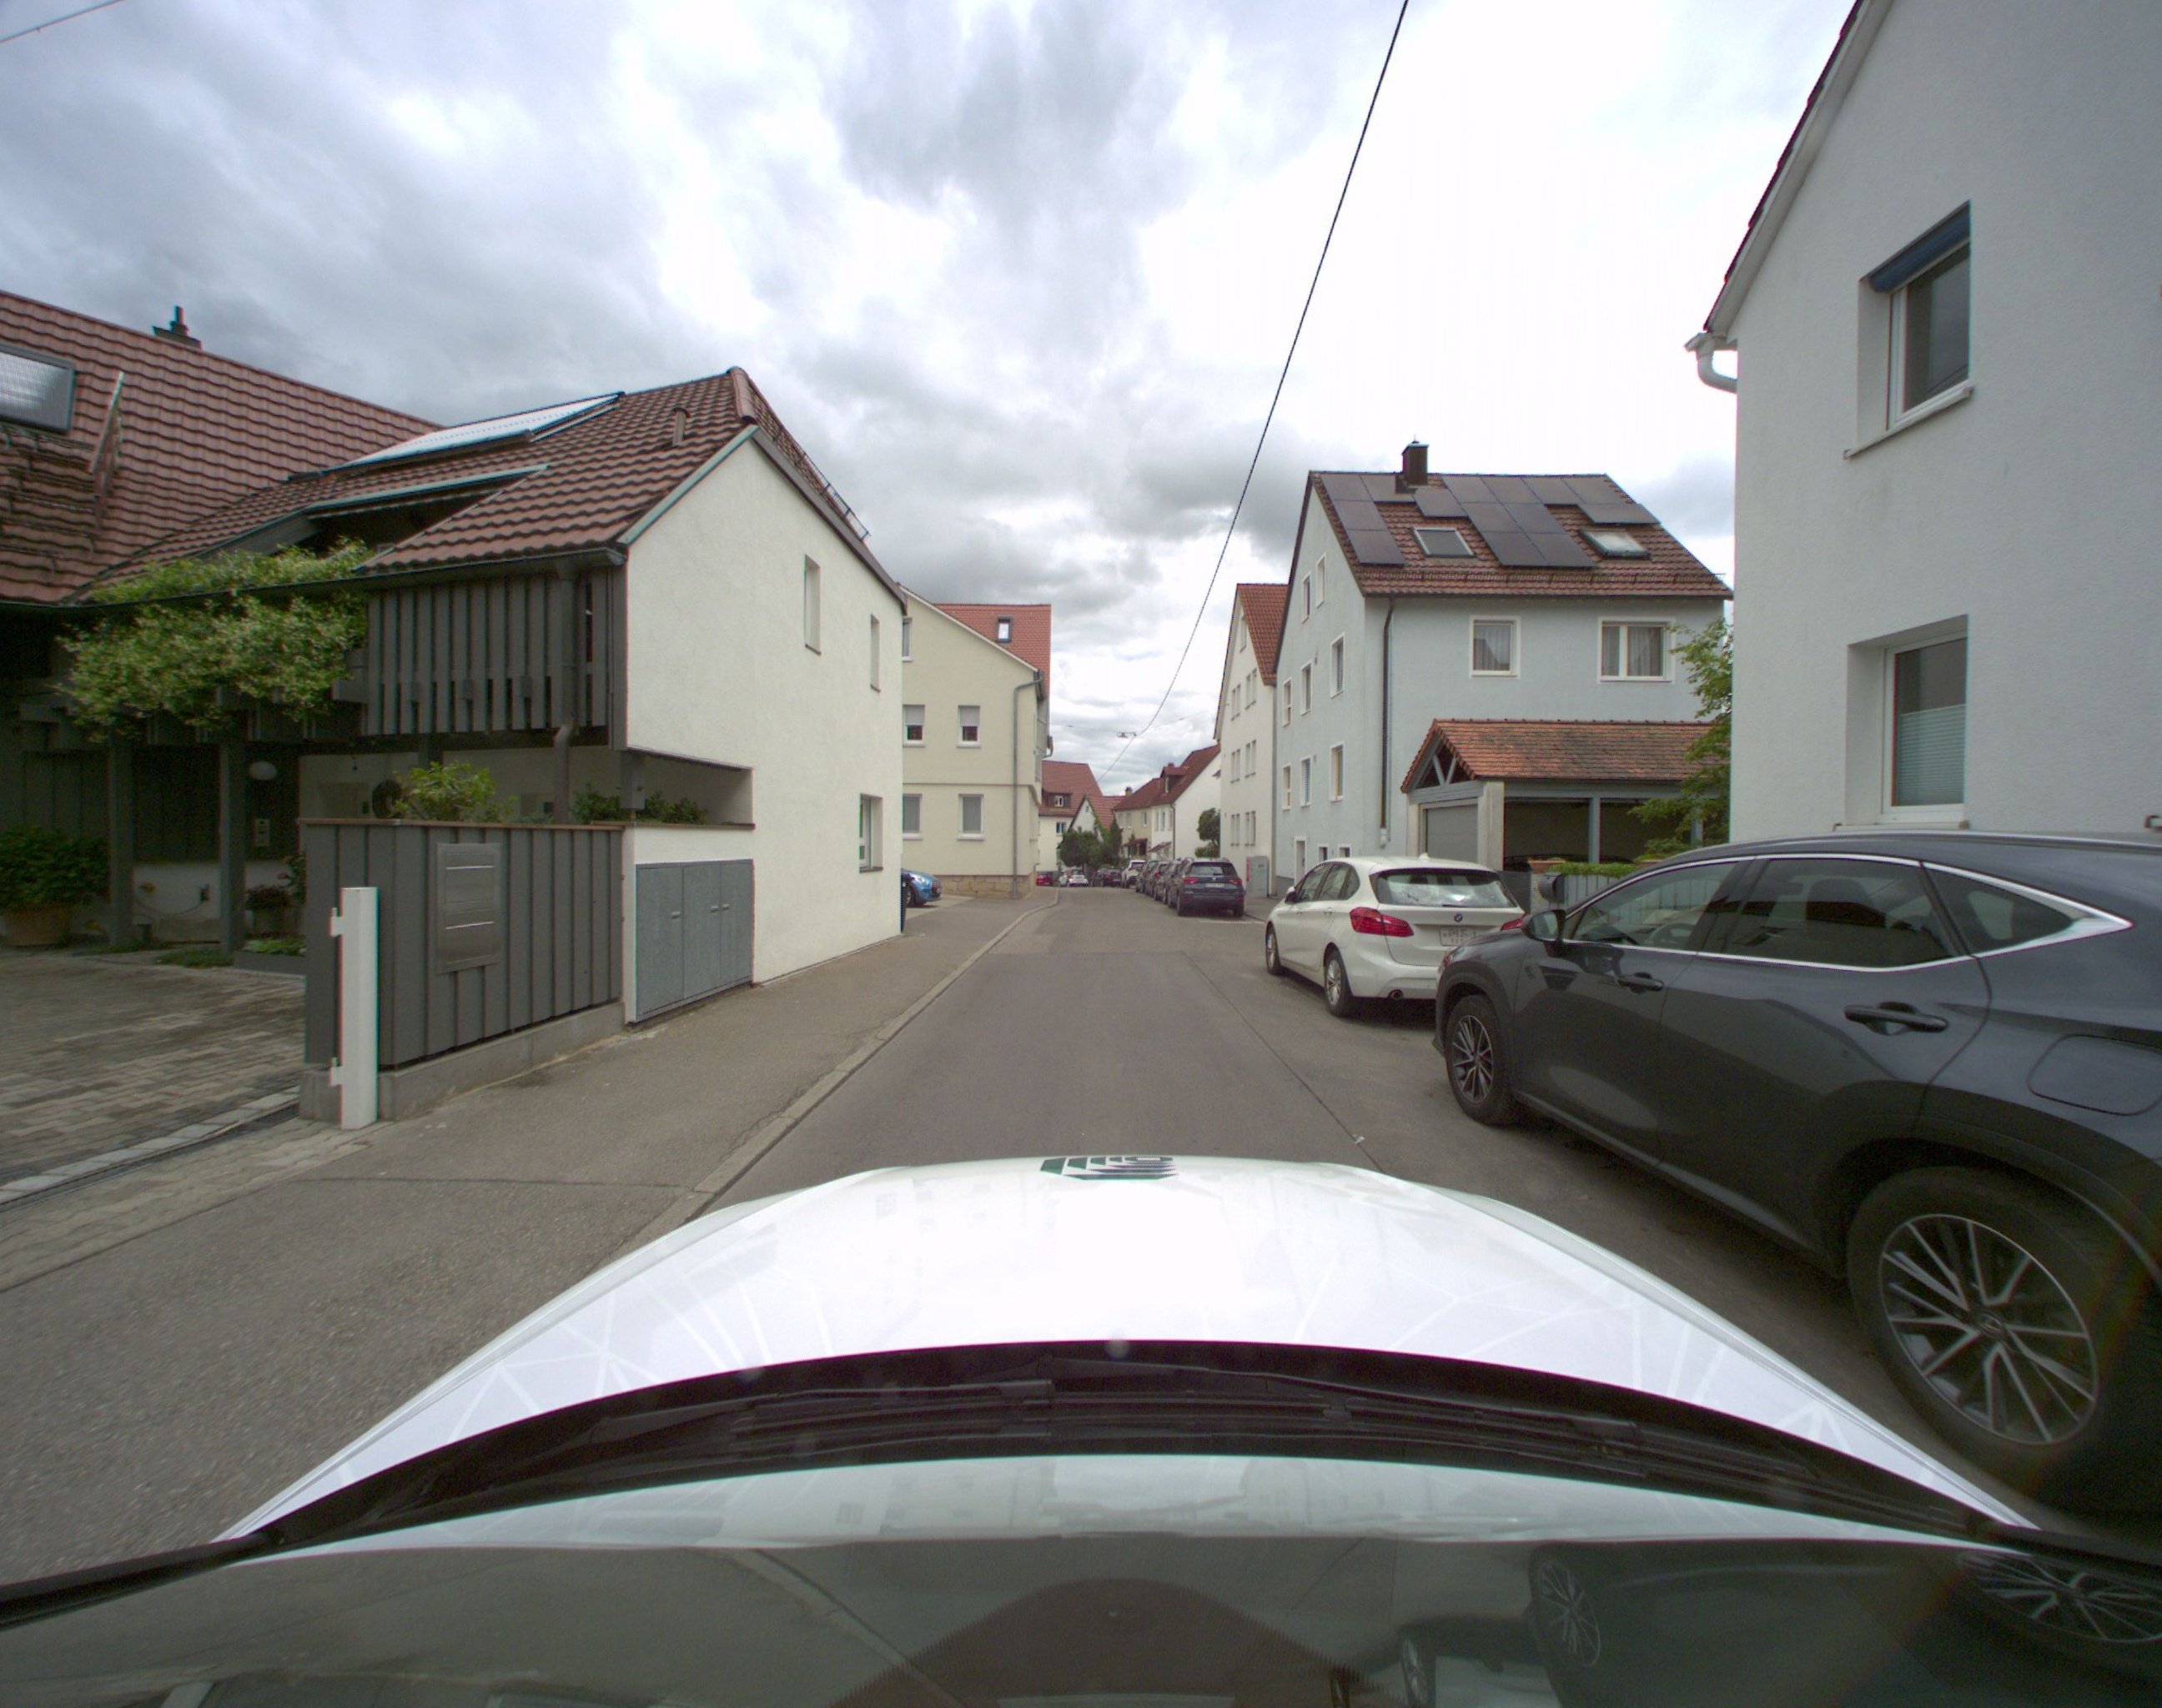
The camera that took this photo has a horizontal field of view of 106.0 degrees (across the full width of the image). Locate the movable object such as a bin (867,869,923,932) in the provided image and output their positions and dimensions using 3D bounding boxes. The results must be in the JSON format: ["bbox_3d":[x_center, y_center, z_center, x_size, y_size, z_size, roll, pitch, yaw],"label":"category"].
[{"bbox_3d":[-3.399,0.840,14.927,0.609,1.076,0.756,3,-1,22],"label":"movable object such as a bin"}]

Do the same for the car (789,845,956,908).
[{"bbox_3d":[-5.455,0.604,21.699,3.713,1.412,2.123,3,-2,5],"label":"car"}]

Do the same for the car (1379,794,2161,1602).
[{"bbox_3d":[3.127,0.712,3.605,1.857,1.633,4.901,0,0,0],"label":"car"}]

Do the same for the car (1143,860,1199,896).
[{"bbox_3d":[3.506,0.950,32.413,1.791,1.352,4.074,0,-2,0],"label":"car"}]

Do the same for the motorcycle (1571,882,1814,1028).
[{"bbox_3d":[5.772,0.885,7.914,0.815,1.173,2.172,-1,-1,4],"label":"motorcycle"}]

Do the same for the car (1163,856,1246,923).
[{"bbox_3d":[3.318,0.898,22.608,1.747,1.628,4.537,2,0,2],"label":"car"}]

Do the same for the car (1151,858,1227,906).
[{"bbox_3d":[3.506,0.887,27.334,1.912,1.410,4.655,-1,-1,0],"label":"car"}]

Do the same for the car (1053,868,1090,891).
[{"bbox_3d":[-0.823,2.101,67.589,1.967,1.713,3.977,1,0,-17],"label":"car"}]

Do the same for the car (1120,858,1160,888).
[{"bbox_3d":[3.406,1.112,47.750,1.868,1.713,4.143,0,-1,-2],"label":"car"}]

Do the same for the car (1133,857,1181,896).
[{"bbox_3d":[3.484,1.028,37.893,1.731,1.610,3.997,3,-1,-1],"label":"car"}]

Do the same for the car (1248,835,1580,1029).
[{"bbox_3d":[3.357,0.666,9.434,1.986,1.615,4.881,1,0,2],"label":"car"}]

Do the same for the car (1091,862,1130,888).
[{"bbox_3d":[2.086,1.544,58.669,1.995,1.713,3.983,0,-3,-11],"label":"car"}]

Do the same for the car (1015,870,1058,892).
[{"bbox_3d":[-3.974,2.406,72.987,2.008,1.684,3.957,-3,-2,-34],"label":"car"}]
